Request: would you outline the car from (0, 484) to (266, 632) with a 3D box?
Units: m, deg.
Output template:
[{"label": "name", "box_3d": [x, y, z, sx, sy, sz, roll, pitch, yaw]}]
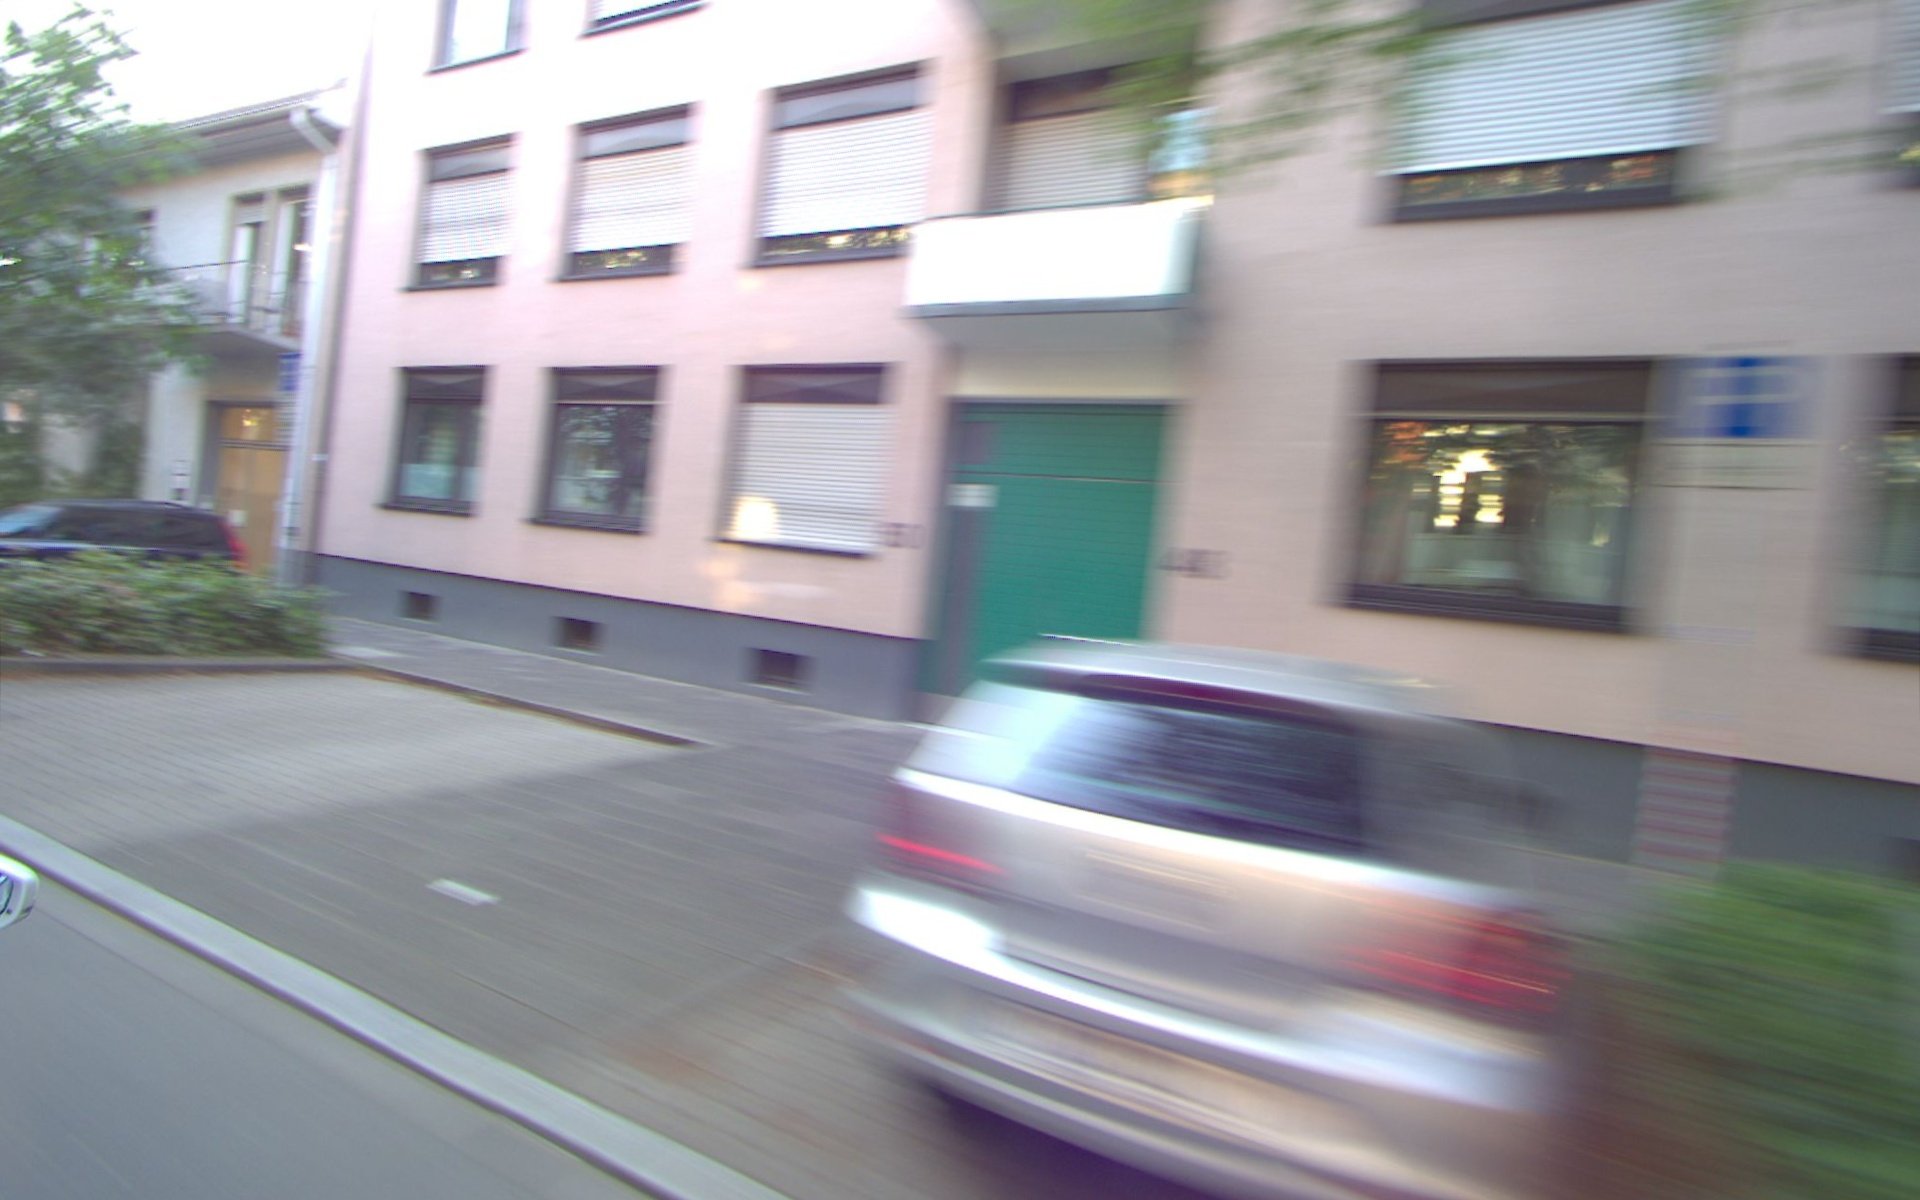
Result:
[{"label": "car", "box_3d": [-10.583, -0.533, 10.684, 2.008, 1.467, 4.843, 7, 1, 30]}]

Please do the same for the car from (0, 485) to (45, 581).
[{"label": "car", "box_3d": [-16.033, -1.148, 13.855, 1.966, 1.406, 4.681, 7, 2, 30]}]

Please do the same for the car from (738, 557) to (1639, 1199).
[{"label": "car", "box_3d": [1.172, 0.876, 4.009, 1.766, 1.508, 4.093, 7, -1, 25]}]
